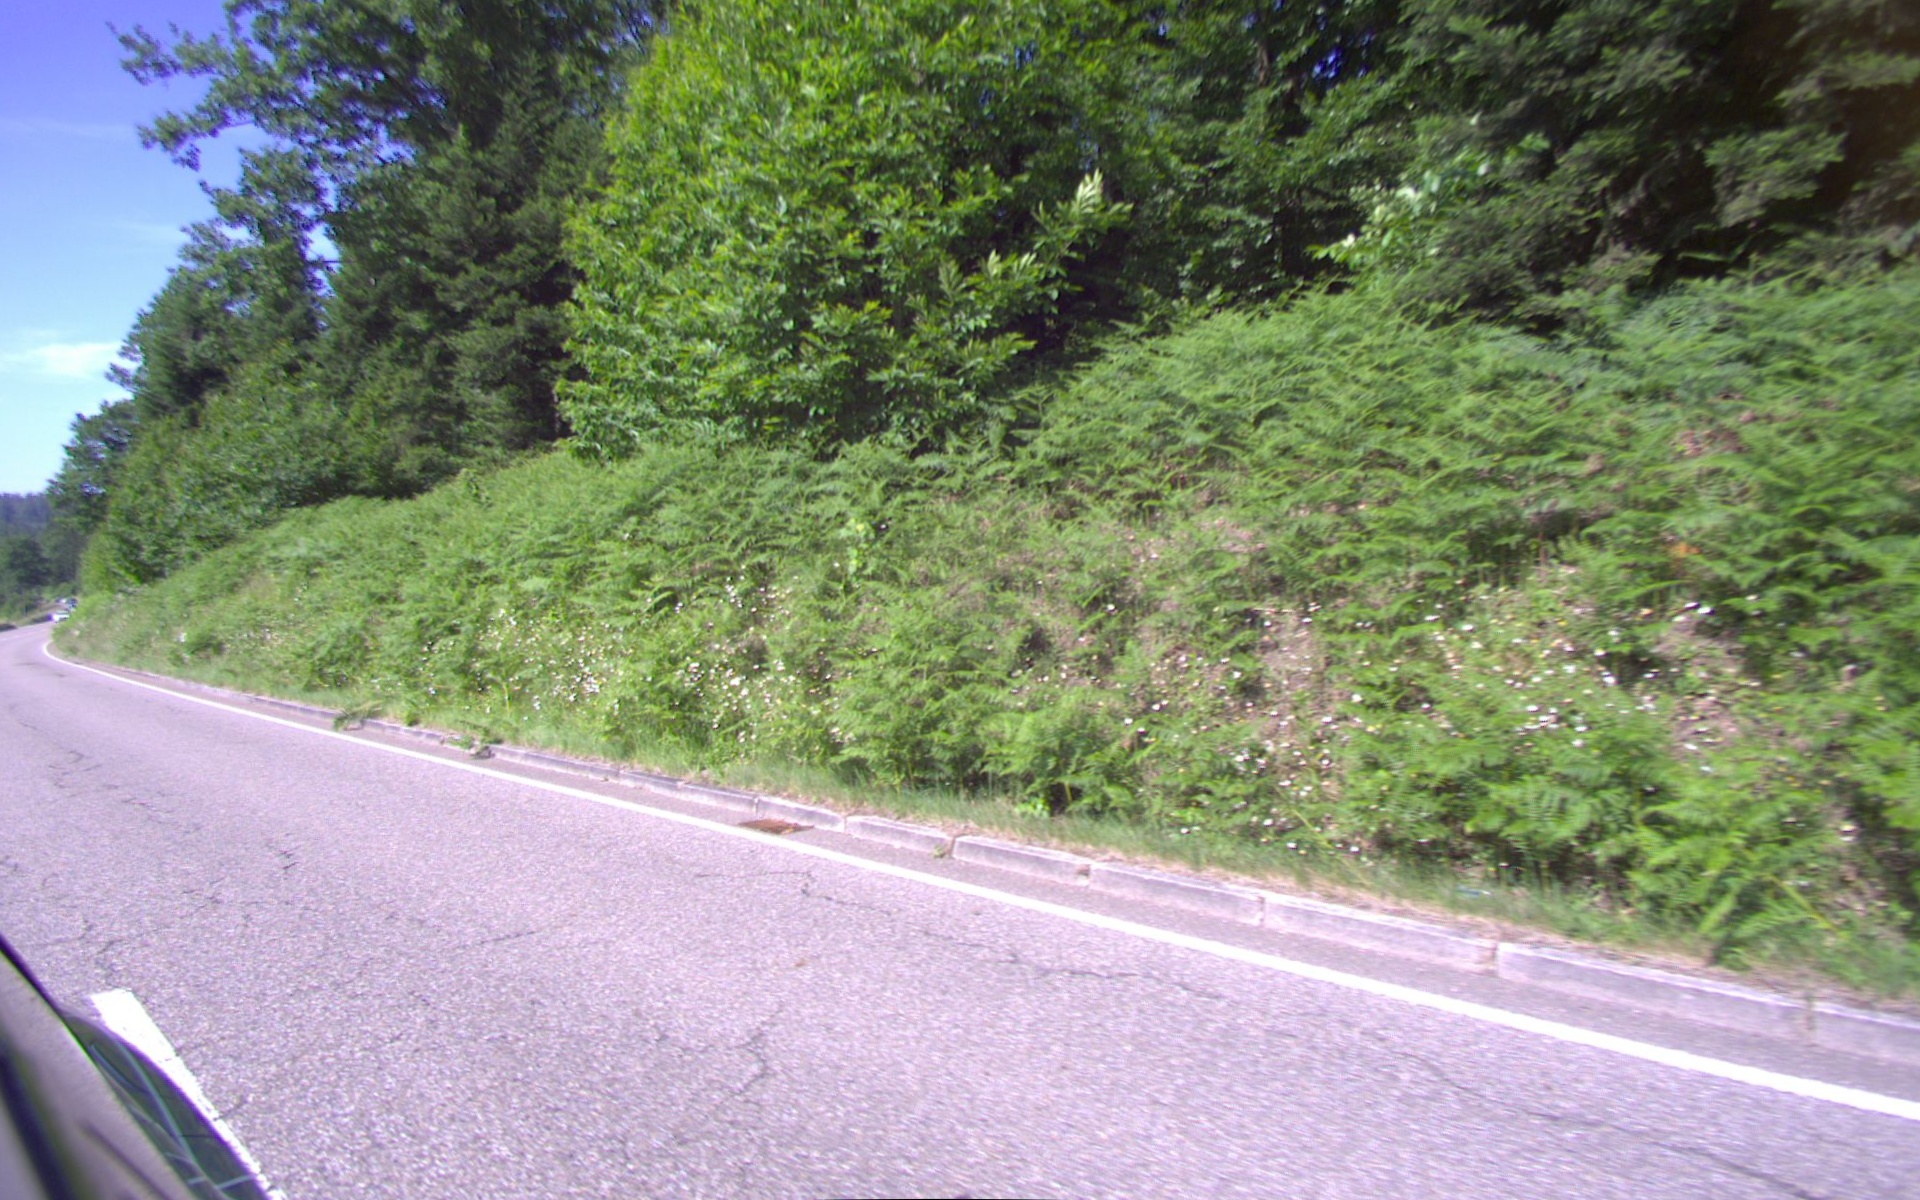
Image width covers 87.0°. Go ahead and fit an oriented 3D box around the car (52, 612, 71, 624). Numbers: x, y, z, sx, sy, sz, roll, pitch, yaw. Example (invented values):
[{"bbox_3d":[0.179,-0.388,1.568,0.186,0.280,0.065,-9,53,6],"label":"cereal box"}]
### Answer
[{"bbox_3d":[-129.284,2.550,145.556,3.790,1.563,1.680,0,3,44],"label":"car"}]
